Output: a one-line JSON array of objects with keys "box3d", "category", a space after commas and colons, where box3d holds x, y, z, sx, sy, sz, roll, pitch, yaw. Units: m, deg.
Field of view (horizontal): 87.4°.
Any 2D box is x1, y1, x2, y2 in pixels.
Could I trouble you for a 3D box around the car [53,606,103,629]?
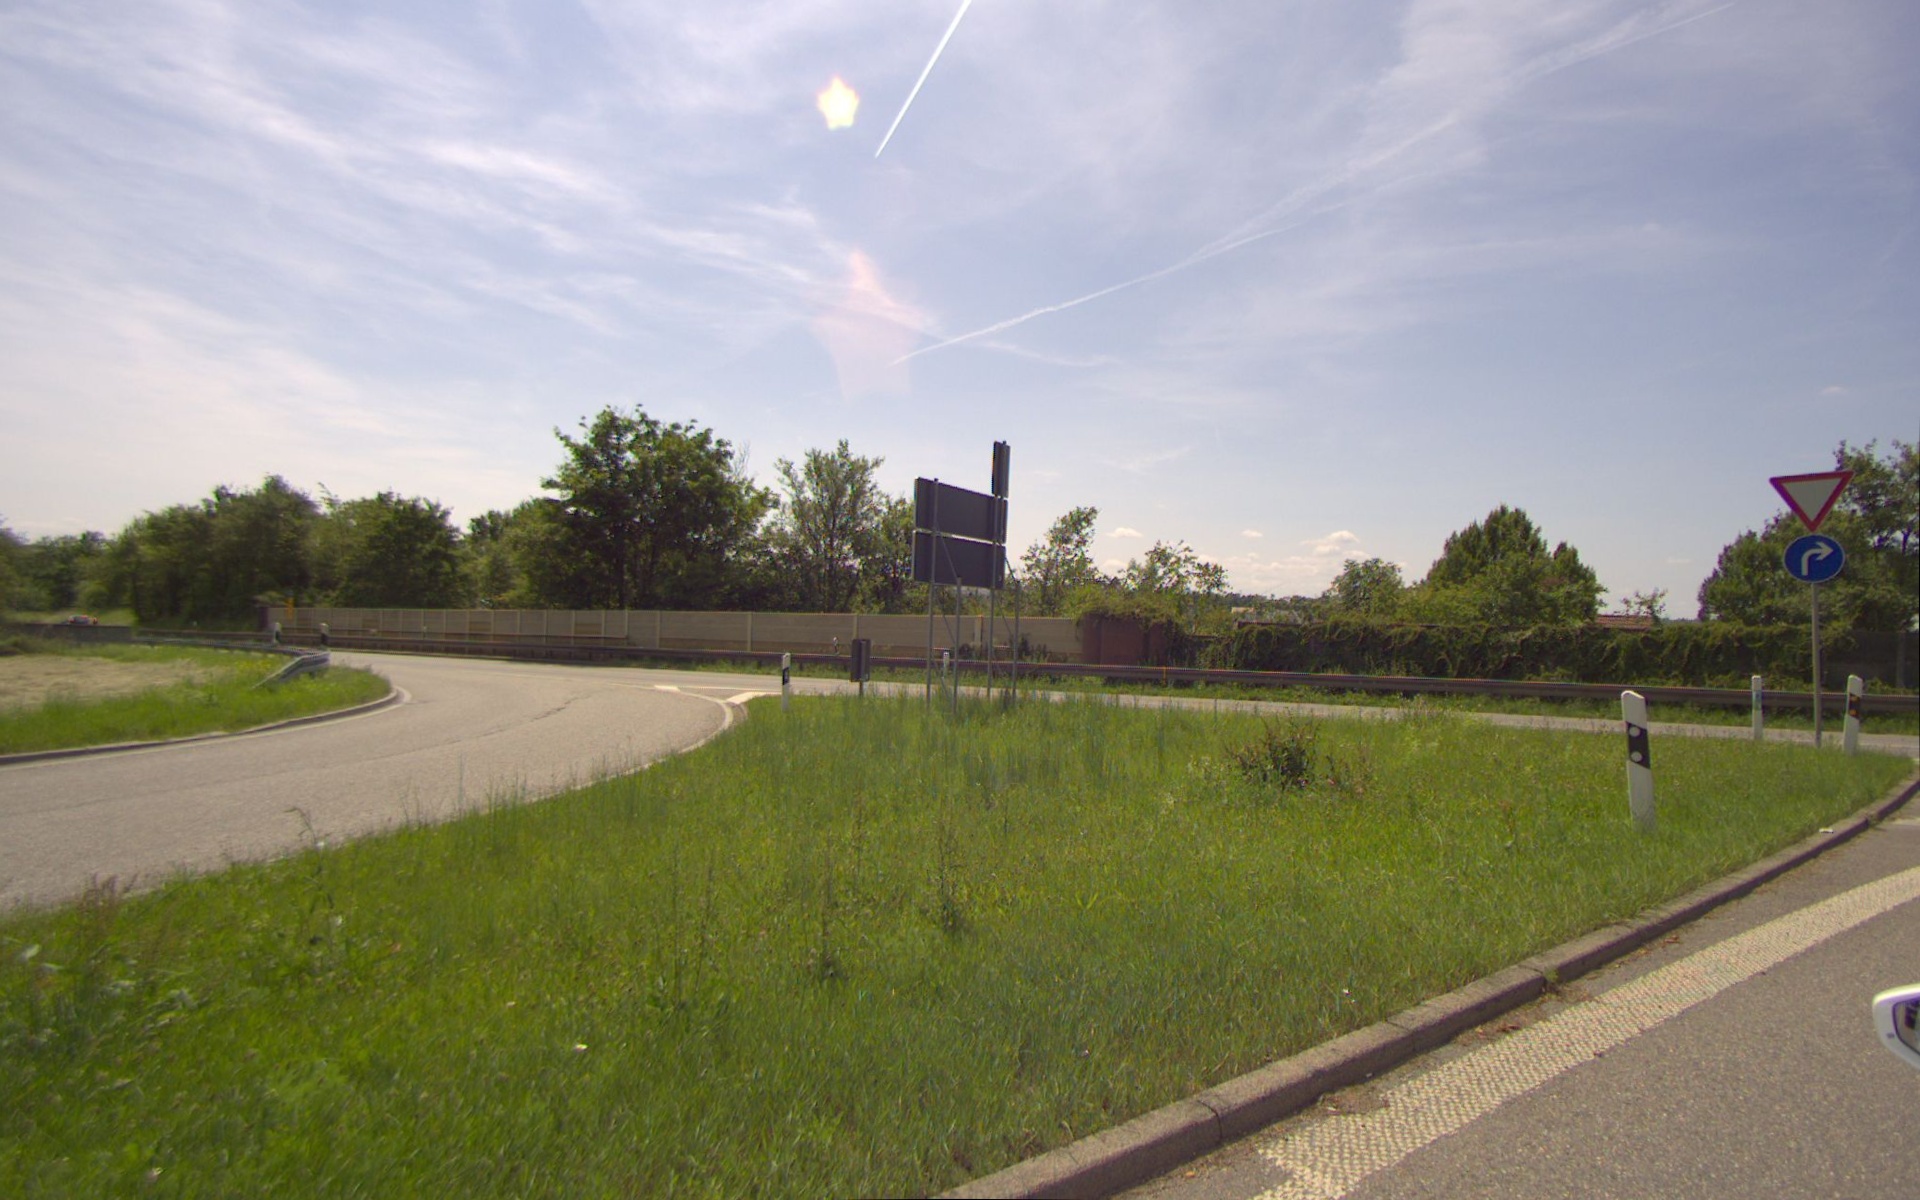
[{"box3d": [-63.342, 1.229, 72.119, 4.038, 1.559, 1.750, 1, -1, 35], "category": "car"}]
